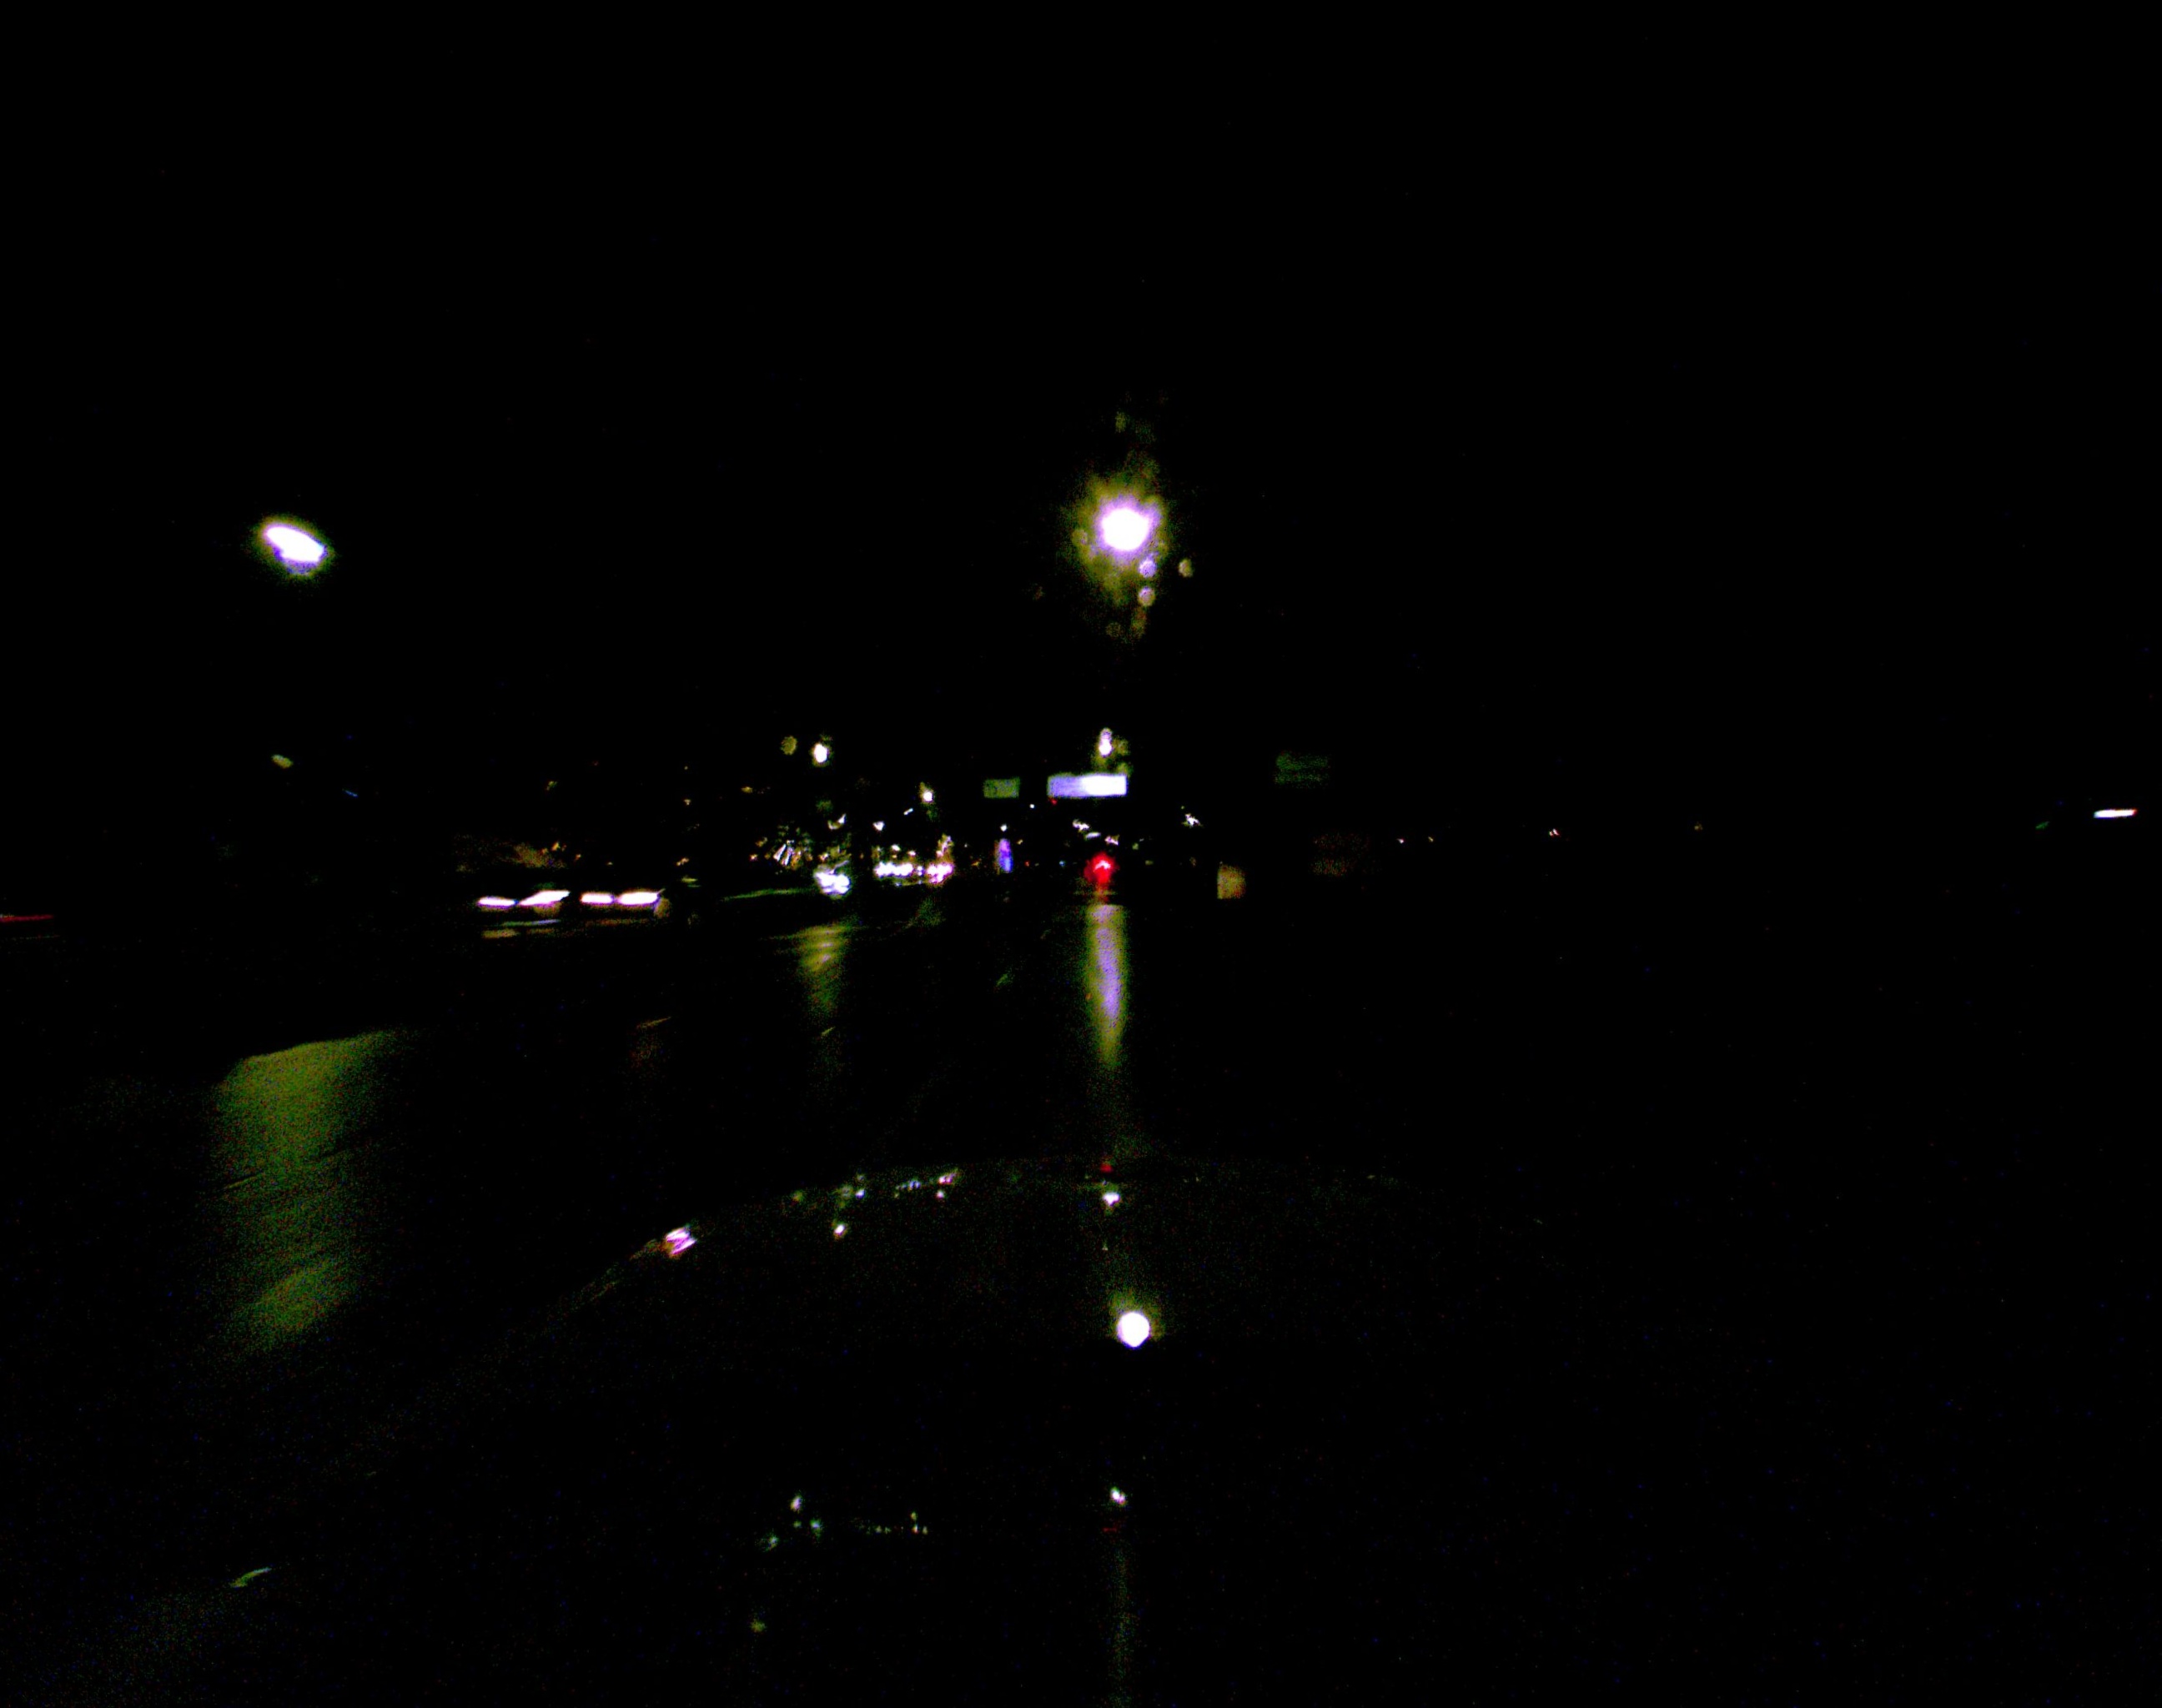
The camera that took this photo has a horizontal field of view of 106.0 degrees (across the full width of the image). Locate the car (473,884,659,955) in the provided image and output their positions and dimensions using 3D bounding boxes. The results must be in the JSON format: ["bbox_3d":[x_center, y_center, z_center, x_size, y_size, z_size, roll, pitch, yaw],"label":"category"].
[{"bbox_3d":[-12.913,1.579,20.818,1.836,1.486,4.367,0,0,2],"label":"car"}]

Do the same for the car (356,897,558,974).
[{"bbox_3d":[-16.129,2.039,21.408,1.836,1.592,4.367,0,0,2],"label":"car"}]

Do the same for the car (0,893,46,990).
[{"bbox_3d":[-19.086,1.476,12.061,1.836,1.592,4.367,0,0,2],"label":"car"}]

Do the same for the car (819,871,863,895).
[{"bbox_3d":[-18.565,2.216,63.287,2.017,1.684,4.548,0,0,0],"label":"car"}]

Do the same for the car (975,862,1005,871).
[{"bbox_3d":[-21.104,2.898,188.694,6.322,2.089,2.495,0,-1,-24],"label":"car"}]
